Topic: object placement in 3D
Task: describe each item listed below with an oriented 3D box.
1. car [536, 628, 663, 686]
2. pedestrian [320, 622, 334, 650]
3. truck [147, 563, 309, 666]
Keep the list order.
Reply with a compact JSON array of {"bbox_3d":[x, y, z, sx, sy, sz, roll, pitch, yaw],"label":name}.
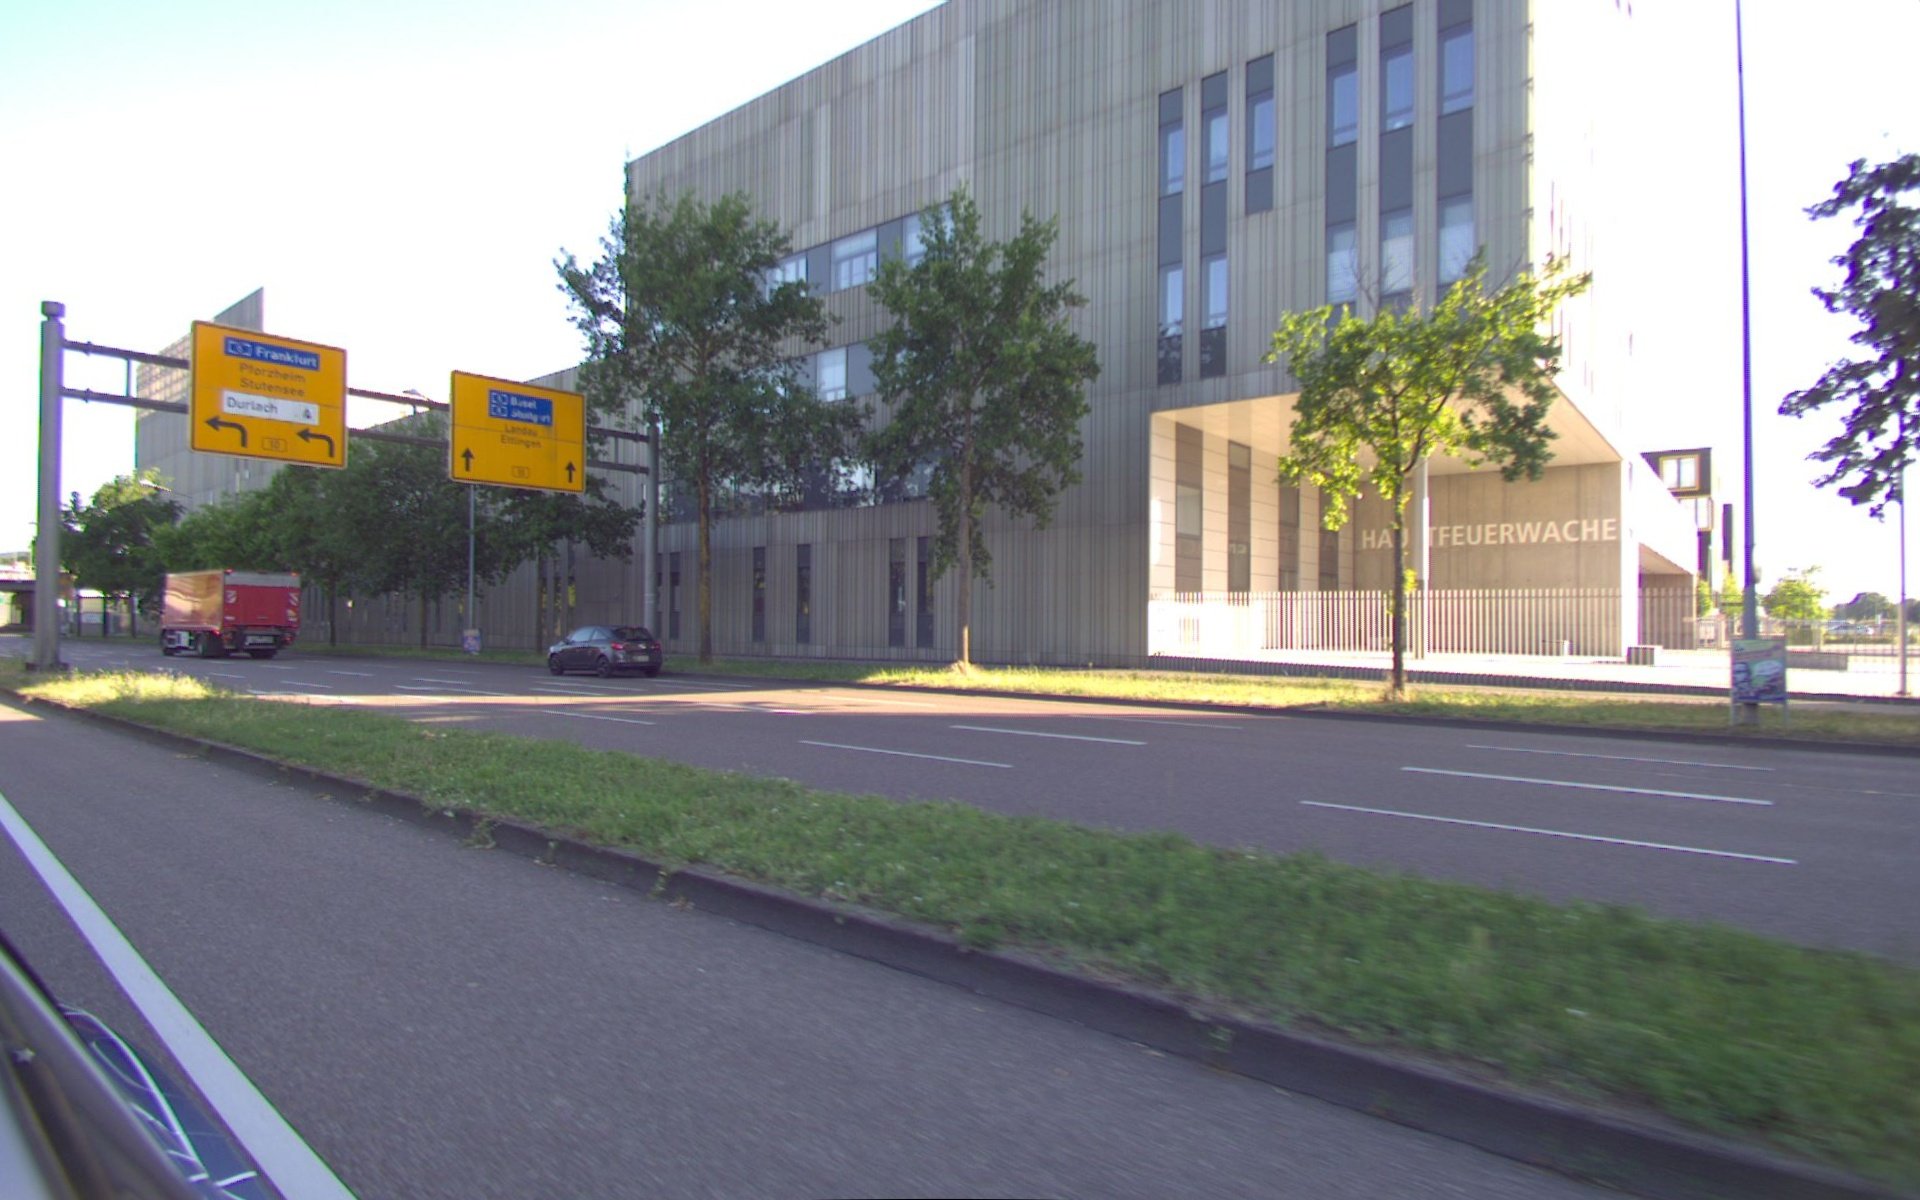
[{"bbox_3d":[-10.162,1.551,28.434,3.863,1.524,1.580,-1,-2,39],"label":"car"},{"bbox_3d":[-41.276,2.341,65.939,0.648,1.781,0.596,-1,-2,41],"label":"pedestrian"},{"bbox_3d":[-30.588,0.657,42.082,10.079,3.840,2.968,-1,-2,39],"label":"truck"}]
